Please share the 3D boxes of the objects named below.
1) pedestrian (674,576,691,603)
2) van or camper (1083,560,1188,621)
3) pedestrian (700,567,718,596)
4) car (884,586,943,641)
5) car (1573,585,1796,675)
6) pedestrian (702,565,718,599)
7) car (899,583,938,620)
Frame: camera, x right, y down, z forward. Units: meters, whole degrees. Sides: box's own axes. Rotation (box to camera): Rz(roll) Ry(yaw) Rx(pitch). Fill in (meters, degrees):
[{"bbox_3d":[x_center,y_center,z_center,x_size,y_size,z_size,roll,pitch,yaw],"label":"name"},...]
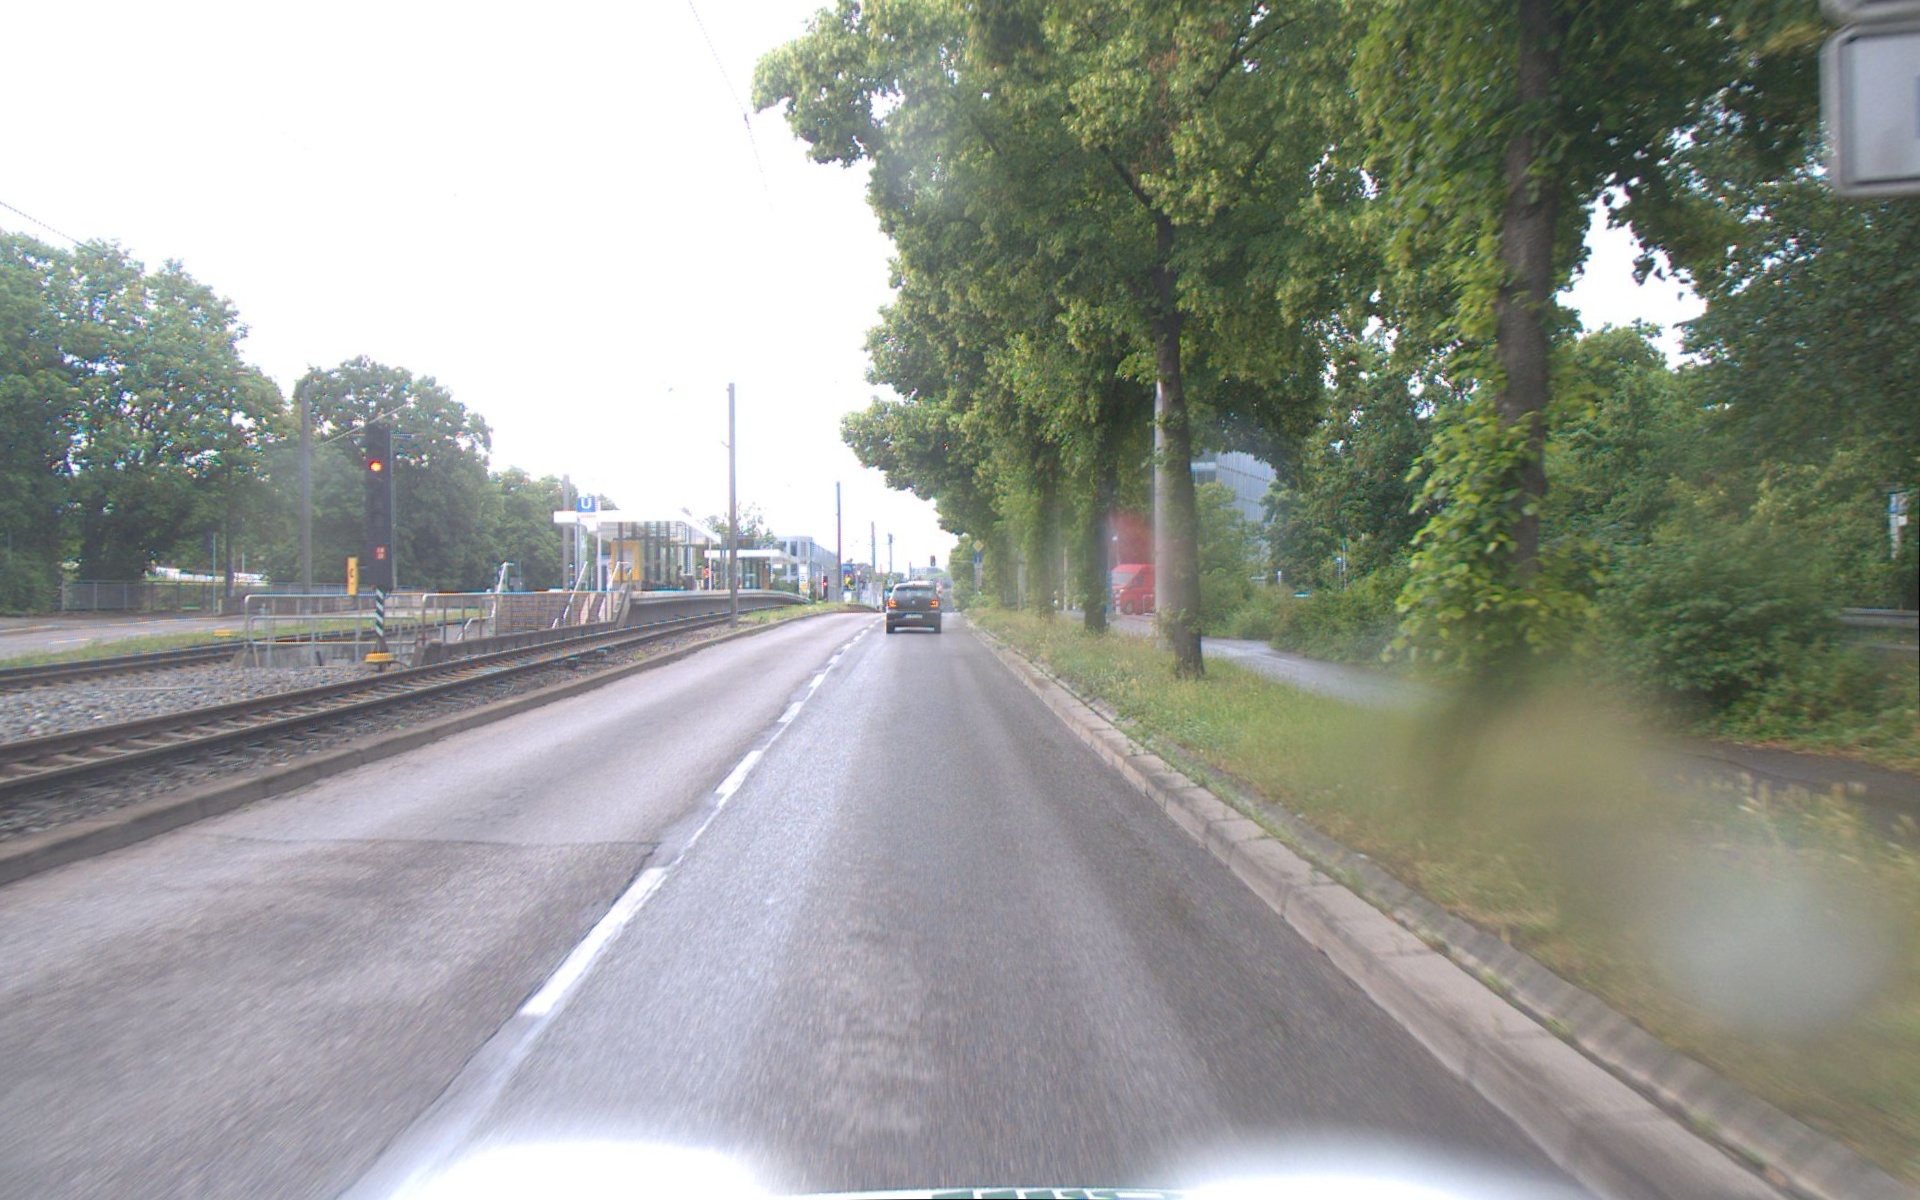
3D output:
[{"bbox_3d":[-13.134,-0.492,78.421,0.696,1.247,0.619,0,0,-1],"label":"pedestrian"},{"bbox_3d":[8.216,-0.420,76.972,2.005,2.447,5.359,4,0,41],"label":"van or camper"},{"bbox_3d":[-14.645,-1.095,96.432,0.784,1.675,0.913,1,1,-22],"label":"pedestrian"},{"bbox_3d":[-1.372,0.363,49.716,1.691,1.567,3.999,0,1,-1],"label":"car"},{"bbox_3d":[17.041,0.680,39.068,1.929,1.866,4.401,2,1,-41],"label":"car"},{"bbox_3d":[-14.731,-1.066,97.282,0.732,1.942,0.837,1,1,-21],"label":"pedestrian"},{"bbox_3d":[-1.801,0.047,72.454,1.653,1.544,3.999,0,1,-1],"label":"car"}]
